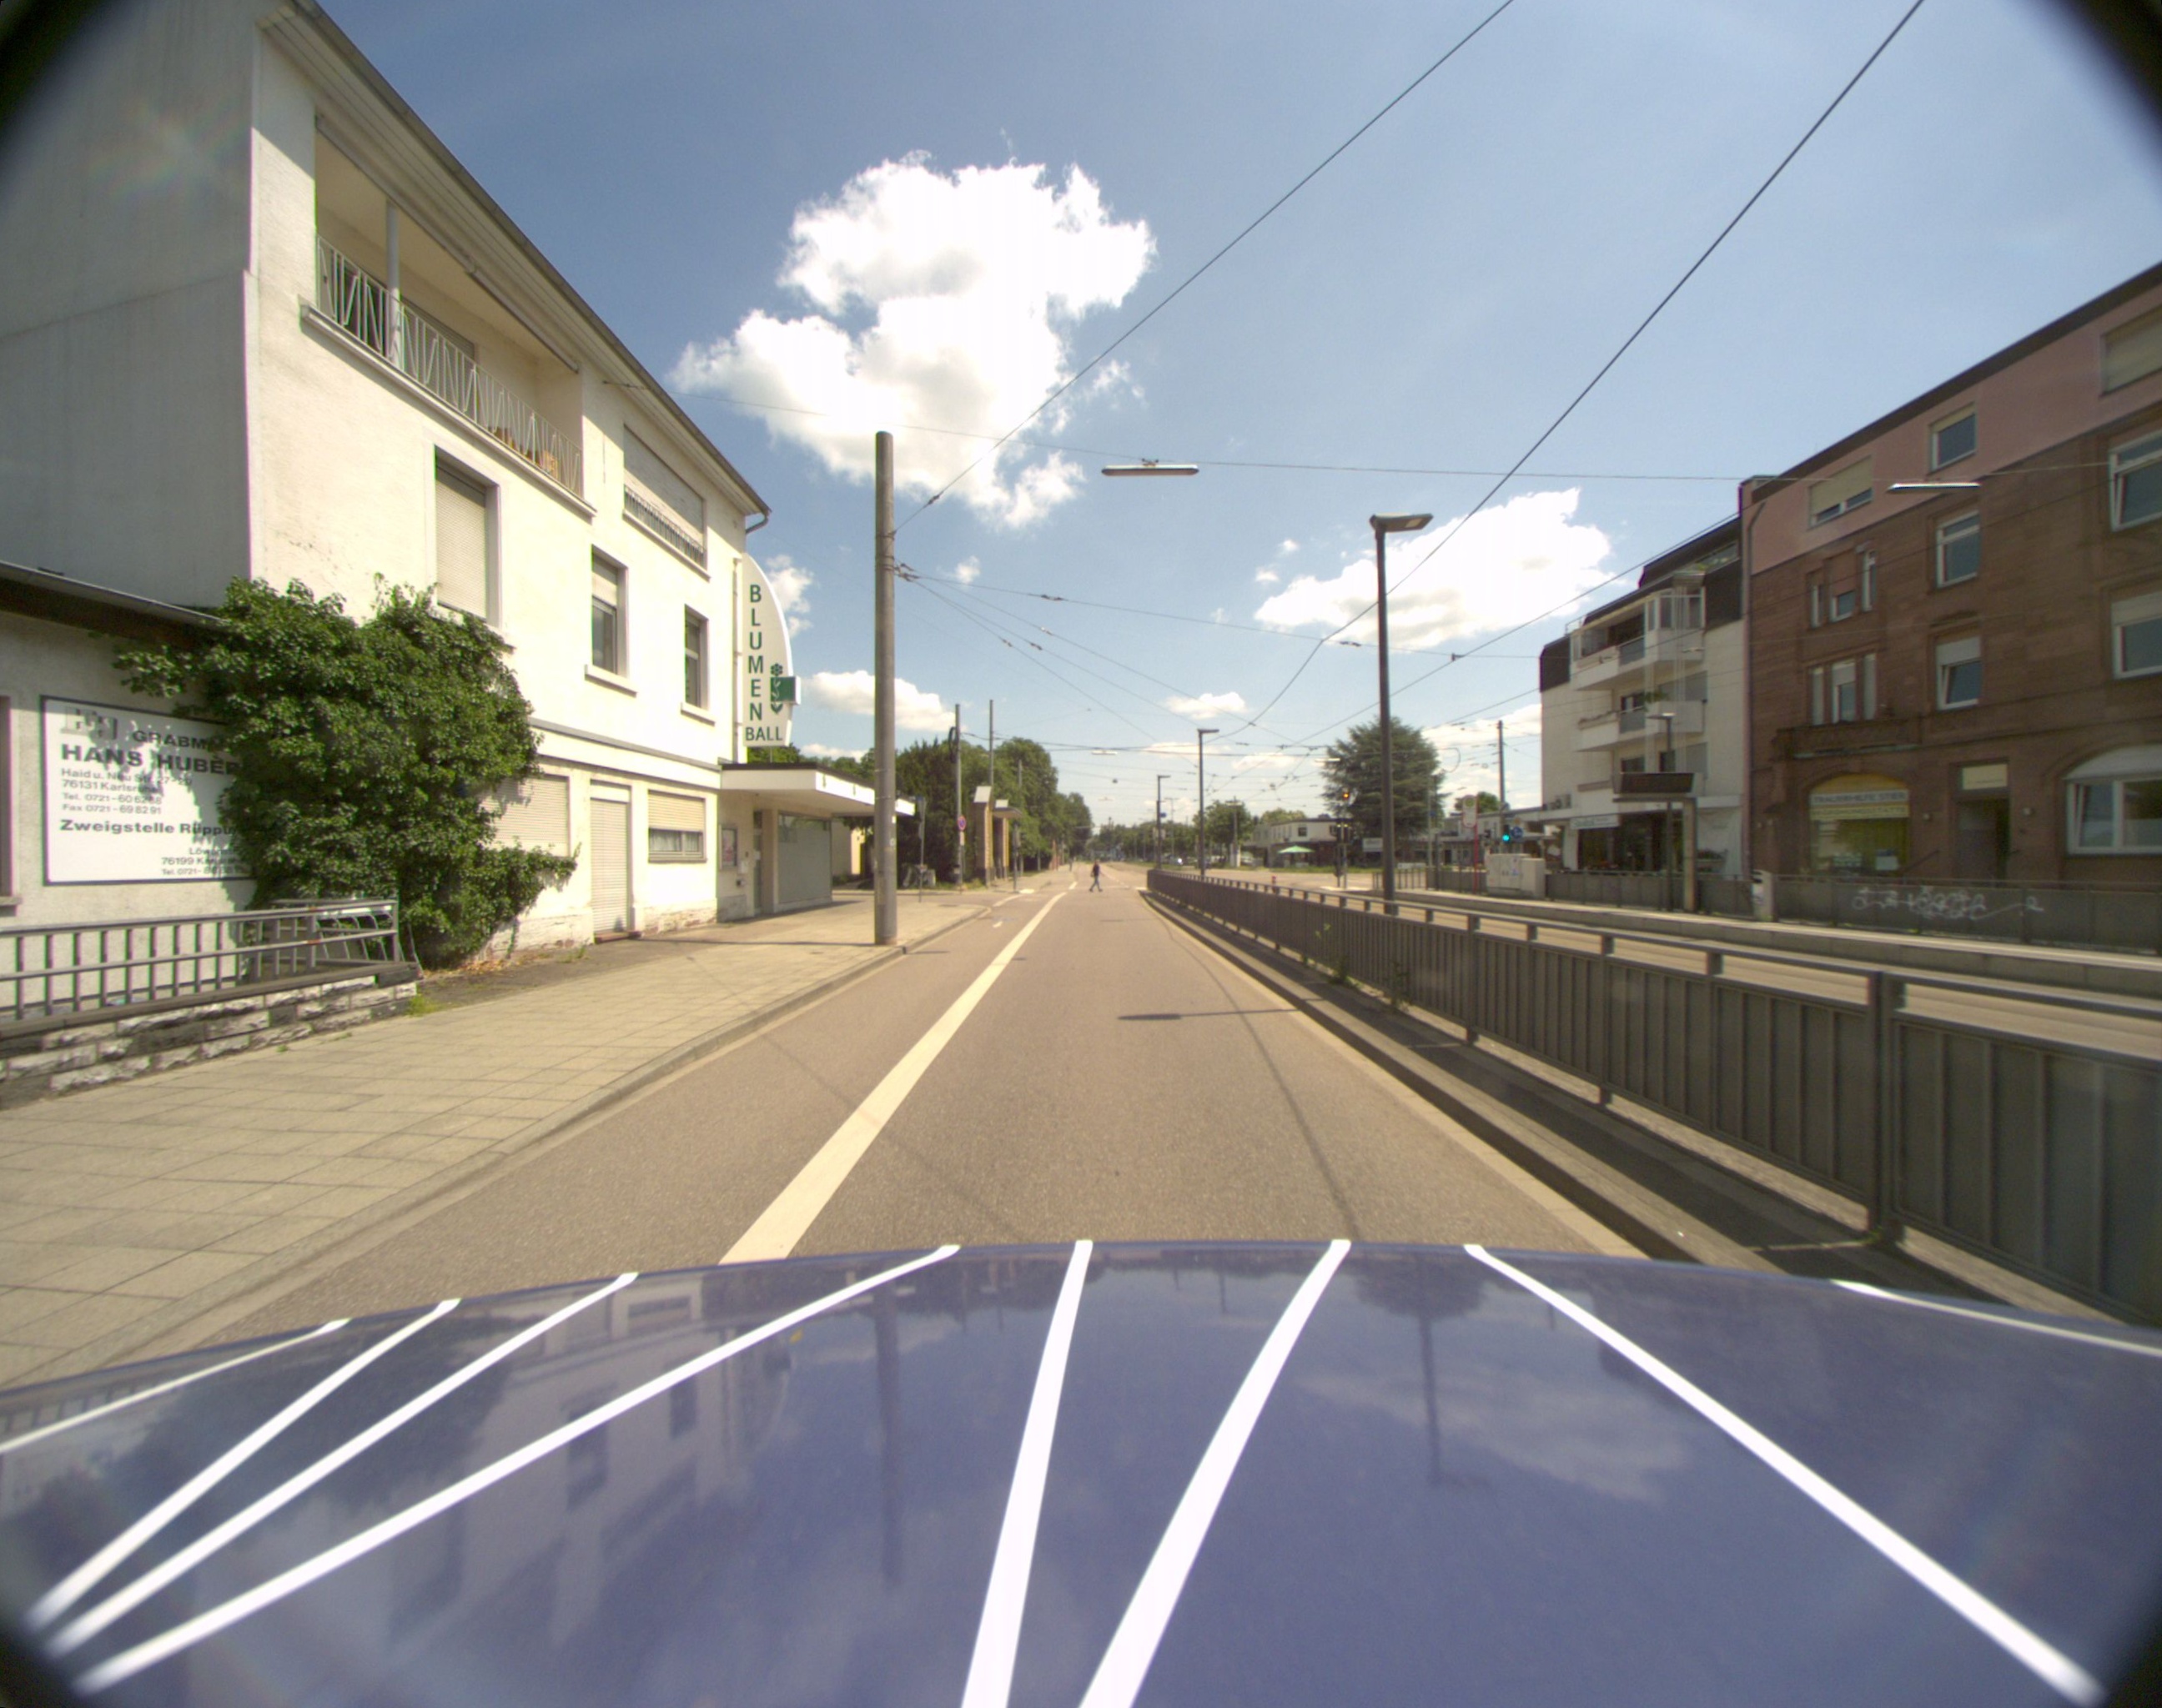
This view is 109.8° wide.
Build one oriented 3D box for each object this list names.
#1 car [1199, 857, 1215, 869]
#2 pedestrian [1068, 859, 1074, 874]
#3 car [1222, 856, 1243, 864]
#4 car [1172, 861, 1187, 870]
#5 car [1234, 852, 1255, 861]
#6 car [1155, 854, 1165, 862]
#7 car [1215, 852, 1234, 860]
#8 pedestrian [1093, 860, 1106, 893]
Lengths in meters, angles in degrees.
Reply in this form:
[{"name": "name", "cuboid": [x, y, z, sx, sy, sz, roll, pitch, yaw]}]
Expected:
[{"name": "car", "cuboid": [18.060, 1.334, 109.168, 1.727, 1.673, 4.280, 0, 0, 3]}, {"name": "pedestrian", "cuboid": [-1.244, 1.604, 95.591, 0.767, 1.841, 0.717, -1, 1, -3]}, {"name": "car", "cuboid": [32.348, 1.259, 162.214, 3.997, 1.726, 1.879, -1, 1, 1]}, {"name": "car", "cuboid": [17.587, 2.093, 135.904, 1.998, 1.463, 4.401, -1, 0, 0]}, {"name": "car", "cuboid": [46.834, 0.793, 217.563, 5.698, 2.467, 2.259, -1, 1, -2]}, {"name": "car", "cuboid": [22.692, 1.178, 218.340, 2.071, 2.089, 4.488, -3, 1, -1]}, {"name": "car", "cuboid": [33.086, 0.398, 175.395, 3.997, 1.726, 1.903, -1, 1, 1]}, {"name": "pedestrian", "cuboid": [0.879, 1.063, 36.681, 0.578, 1.547, 0.786, 1, 1, 4]}]
